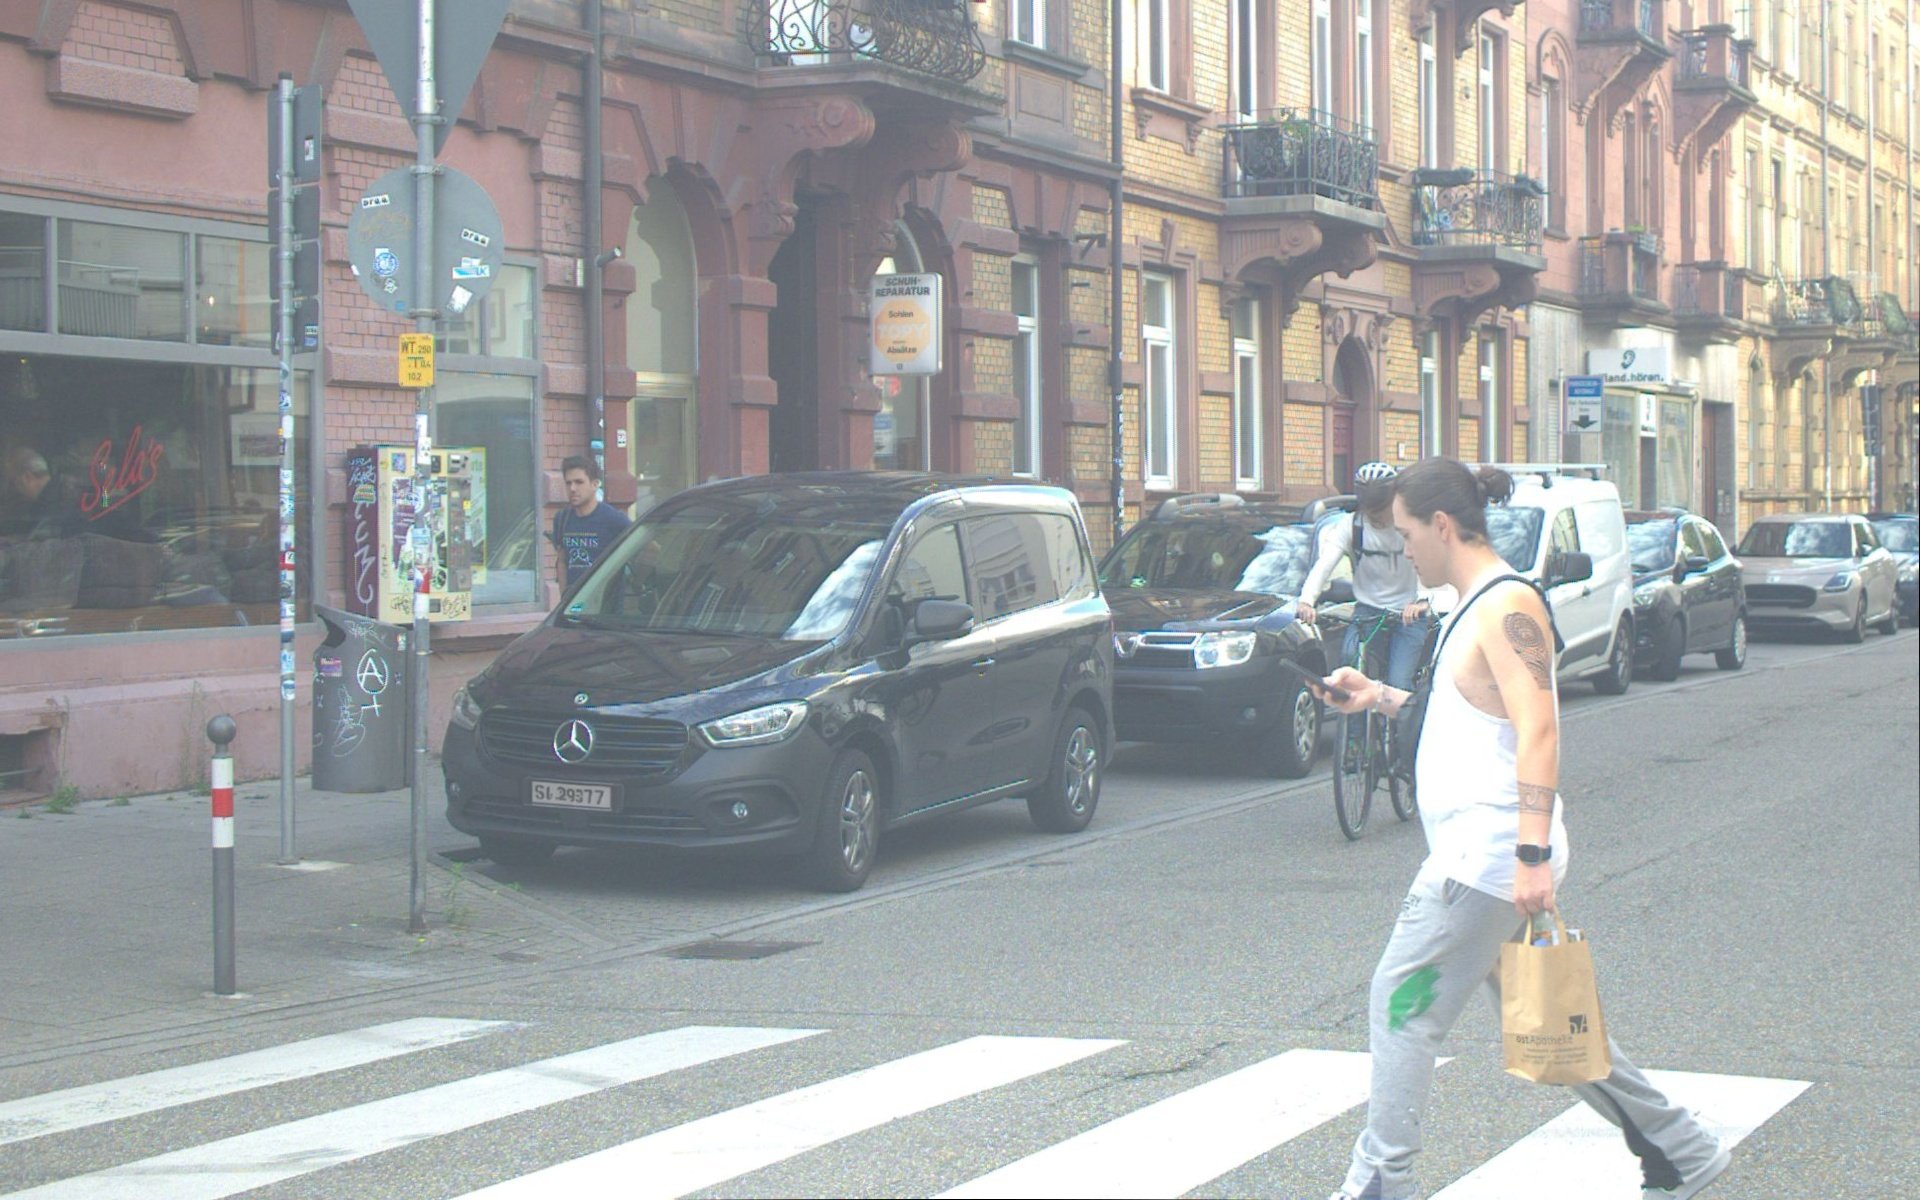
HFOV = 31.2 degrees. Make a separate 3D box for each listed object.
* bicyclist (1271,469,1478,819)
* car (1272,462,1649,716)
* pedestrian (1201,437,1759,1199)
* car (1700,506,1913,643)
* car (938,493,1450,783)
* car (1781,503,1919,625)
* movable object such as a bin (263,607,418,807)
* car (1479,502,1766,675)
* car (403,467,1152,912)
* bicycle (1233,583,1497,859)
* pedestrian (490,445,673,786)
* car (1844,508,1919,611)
[{"bbox_3d":[2.071,0.198,17.068,0.701,1.672,1.111,-1,1,23],"label":"bicyclist"},{"bbox_3d":[4.117,-0.171,27.661,1.922,1.865,4.432,1,2,23],"label":"car"},{"bbox_3d":[1.104,0.512,7.178,1.020,1.665,0.804,0,1,19],"label":"pedestrian"},{"bbox_3d":[10.087,-0.349,40.797,1.744,1.478,3.979,1,3,24],"label":"car"},{"bbox_3d":[1.603,0.147,21.882,1.996,1.632,4.140,1,2,23],"label":"car"},{"bbox_3d":[12.067,-0.514,45.230,1.744,1.478,3.979,1,3,24],"label":"car"},{"bbox_3d":[-2.330,0.396,12.948,0.383,0.711,0.475,1,2,20],"label":"movable object such as a bin"},{"bbox_3d":[6.289,-0.137,32.337,1.744,1.478,3.978,2,2,24],"label":"car"},{"bbox_3d":[-0.686,0.289,16.316,1.762,1.767,4.401,2,3,23],"label":"car"},{"bbox_3d":[2.028,0.559,16.951,0.701,1.216,2.114,-1,1,23],"label":"bicycle"},{"bbox_3d":[-2.101,0.065,19.166,0.677,1.834,0.857,3,3,18],"label":"pedestrian"},{"bbox_3d":[13.918,-0.607,49.434,1.692,1.382,3.862,1,3,24],"label":"car"}]
